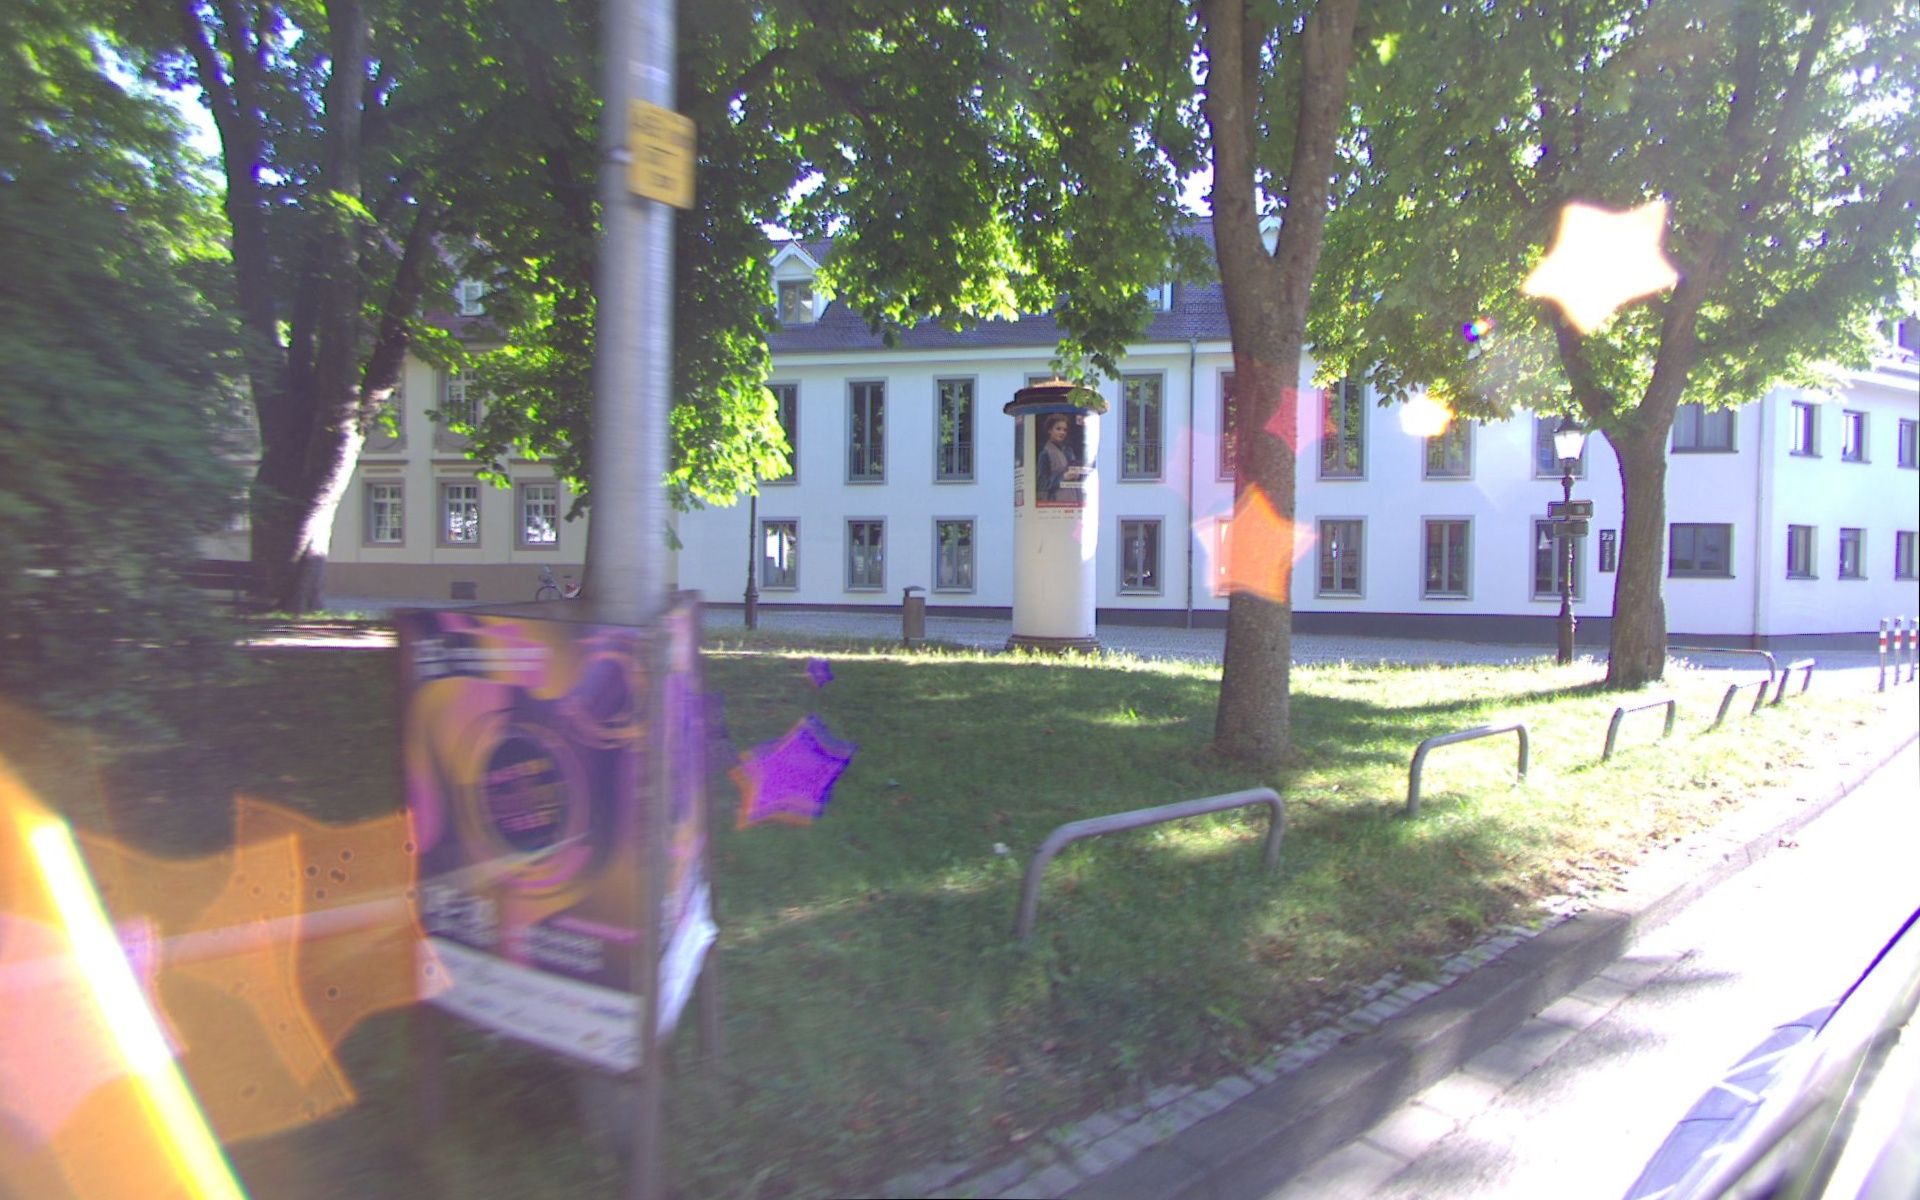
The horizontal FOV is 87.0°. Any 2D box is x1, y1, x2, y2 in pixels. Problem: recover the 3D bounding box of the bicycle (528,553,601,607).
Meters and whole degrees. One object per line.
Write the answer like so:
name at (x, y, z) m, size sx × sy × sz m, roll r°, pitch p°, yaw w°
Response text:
bicycle at (-10.249, -0.522, 26.241) m, size 1.742 × 1.333 × 0.717 m, roll 2°, pitch 2°, yaw 21°
